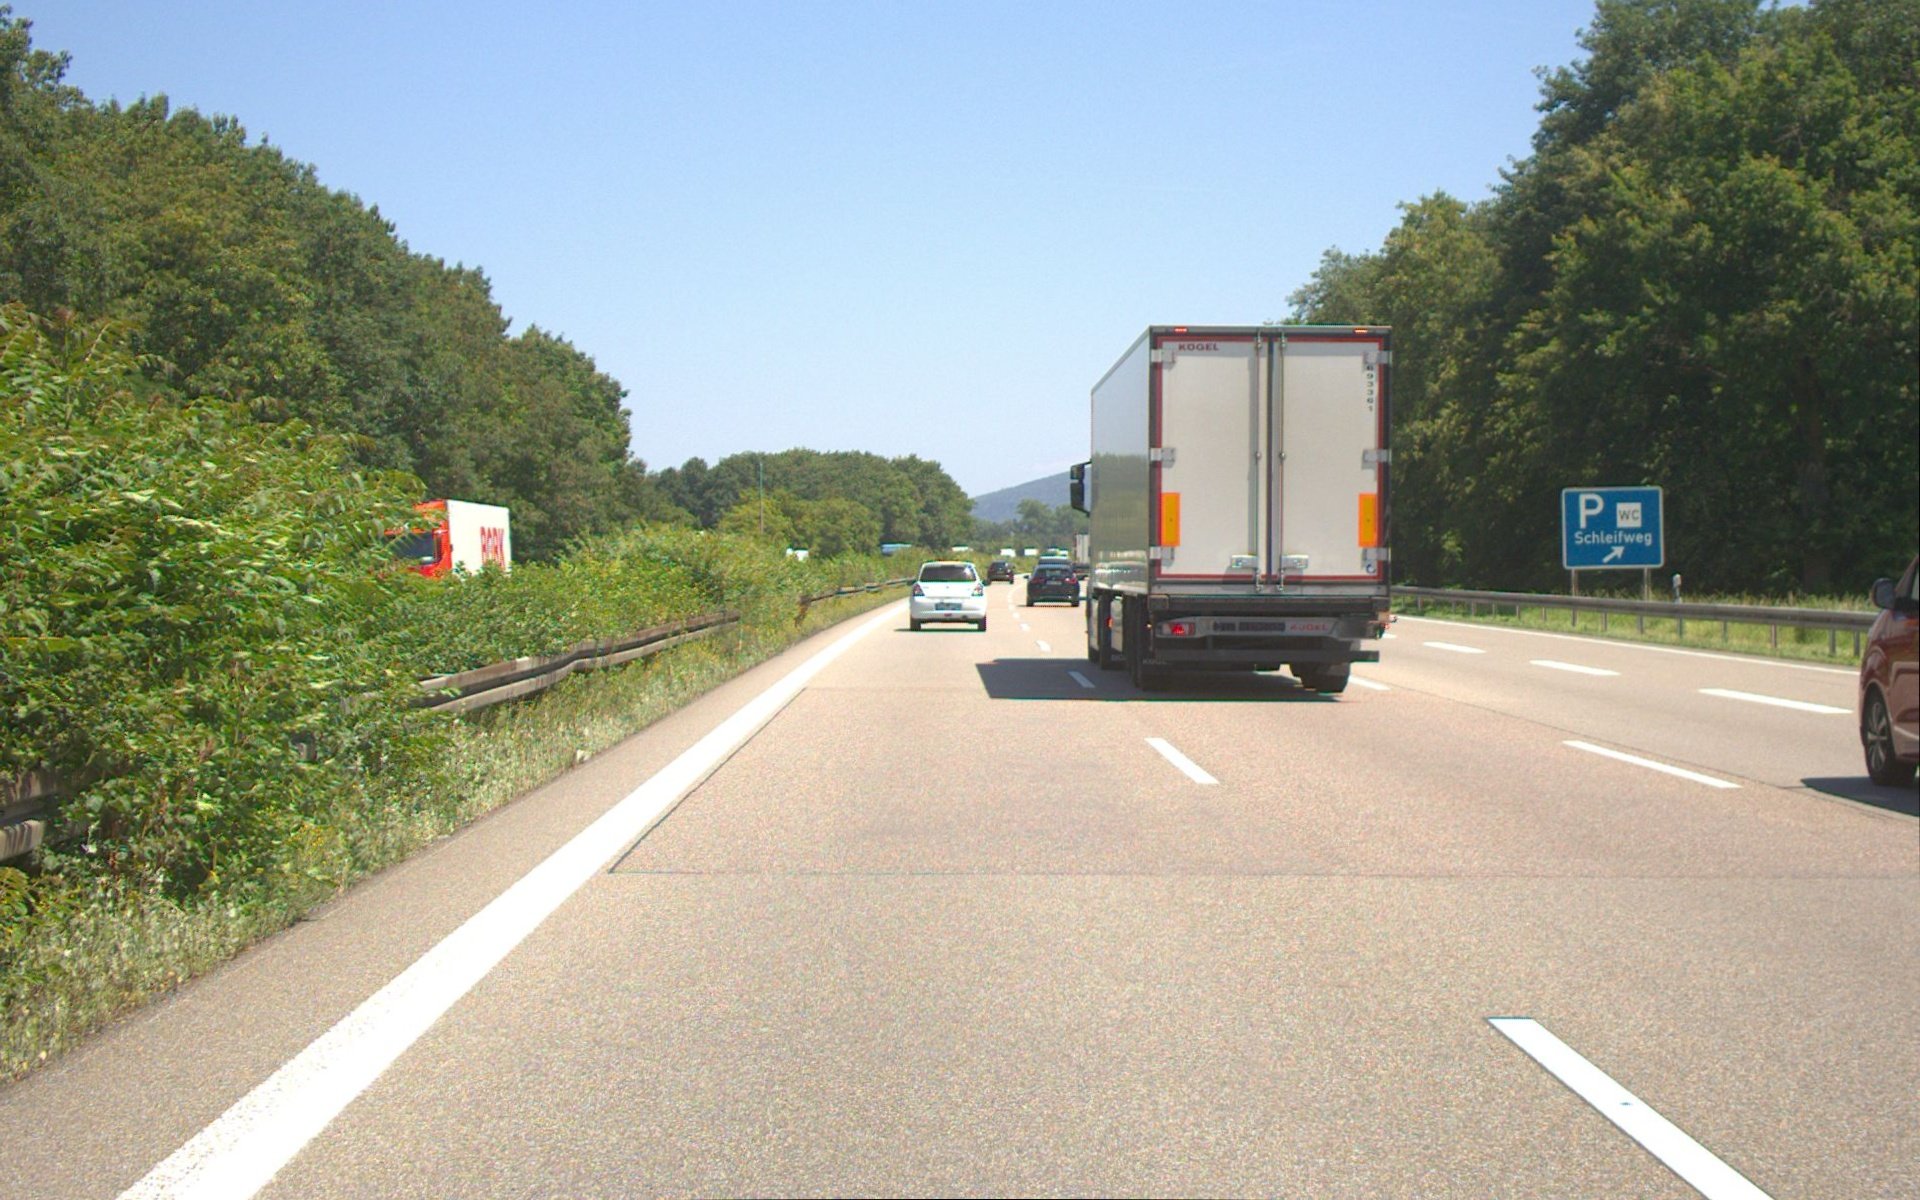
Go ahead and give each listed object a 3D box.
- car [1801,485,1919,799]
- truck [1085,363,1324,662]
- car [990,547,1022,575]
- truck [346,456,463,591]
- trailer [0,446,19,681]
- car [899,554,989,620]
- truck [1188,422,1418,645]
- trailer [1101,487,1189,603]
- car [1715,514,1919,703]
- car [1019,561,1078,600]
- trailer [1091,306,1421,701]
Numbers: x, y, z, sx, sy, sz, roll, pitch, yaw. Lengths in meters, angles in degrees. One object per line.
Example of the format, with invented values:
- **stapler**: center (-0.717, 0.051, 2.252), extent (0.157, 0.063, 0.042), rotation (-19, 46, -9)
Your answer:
- **car**: center (7.043, 0.278, 21.853), extent (1.855, 1.996, 5.522), rotation (1, 1, -2)
- **truck**: center (3.501, -1.254, 50.279), extent (3.229, 4.143, 4.559), rotation (0, 1, 1)
- **car**: center (3.257, -2.763, 243.183), extent (2.107, 2.007, 4.000), rotation (0, 1, -2)
- **truck**: center (-16.965, -2.334, 105.165), extent (2.920, 4.036, 4.295), rotation (0, 1, -1)
- **trailer**: center (-17.774, -0.505, 53.052), extent (2.834, 4.020, 12.914), rotation (-2, 1, 0)
- **car**: center (-0.378, -0.304, 75.731), extent (1.811, 1.400, 3.318), rotation (0, 1, -3)
- **truck**: center (7.044, -1.383, 72.317), extent (3.223, 4.330, 10.808), rotation (0, 1, -3)
- **trailer**: center (7.622, -2.270, 143.199), extent (3.182, 4.611, 12.050), rotation (0, 1, 1)
- **car**: center (9.914, 0.061, 38.503), extent (1.993, 2.007, 4.000), rotation (0, 1, -1)
- **car**: center (3.050, -0.675, 117.739), extent (1.668, 1.285, 3.999), rotation (0, 1, 7)
- **trailer**: center (3.354, -1.113, 42.400), extent (3.223, 4.129, 12.351), rotation (0, 1, 1)
